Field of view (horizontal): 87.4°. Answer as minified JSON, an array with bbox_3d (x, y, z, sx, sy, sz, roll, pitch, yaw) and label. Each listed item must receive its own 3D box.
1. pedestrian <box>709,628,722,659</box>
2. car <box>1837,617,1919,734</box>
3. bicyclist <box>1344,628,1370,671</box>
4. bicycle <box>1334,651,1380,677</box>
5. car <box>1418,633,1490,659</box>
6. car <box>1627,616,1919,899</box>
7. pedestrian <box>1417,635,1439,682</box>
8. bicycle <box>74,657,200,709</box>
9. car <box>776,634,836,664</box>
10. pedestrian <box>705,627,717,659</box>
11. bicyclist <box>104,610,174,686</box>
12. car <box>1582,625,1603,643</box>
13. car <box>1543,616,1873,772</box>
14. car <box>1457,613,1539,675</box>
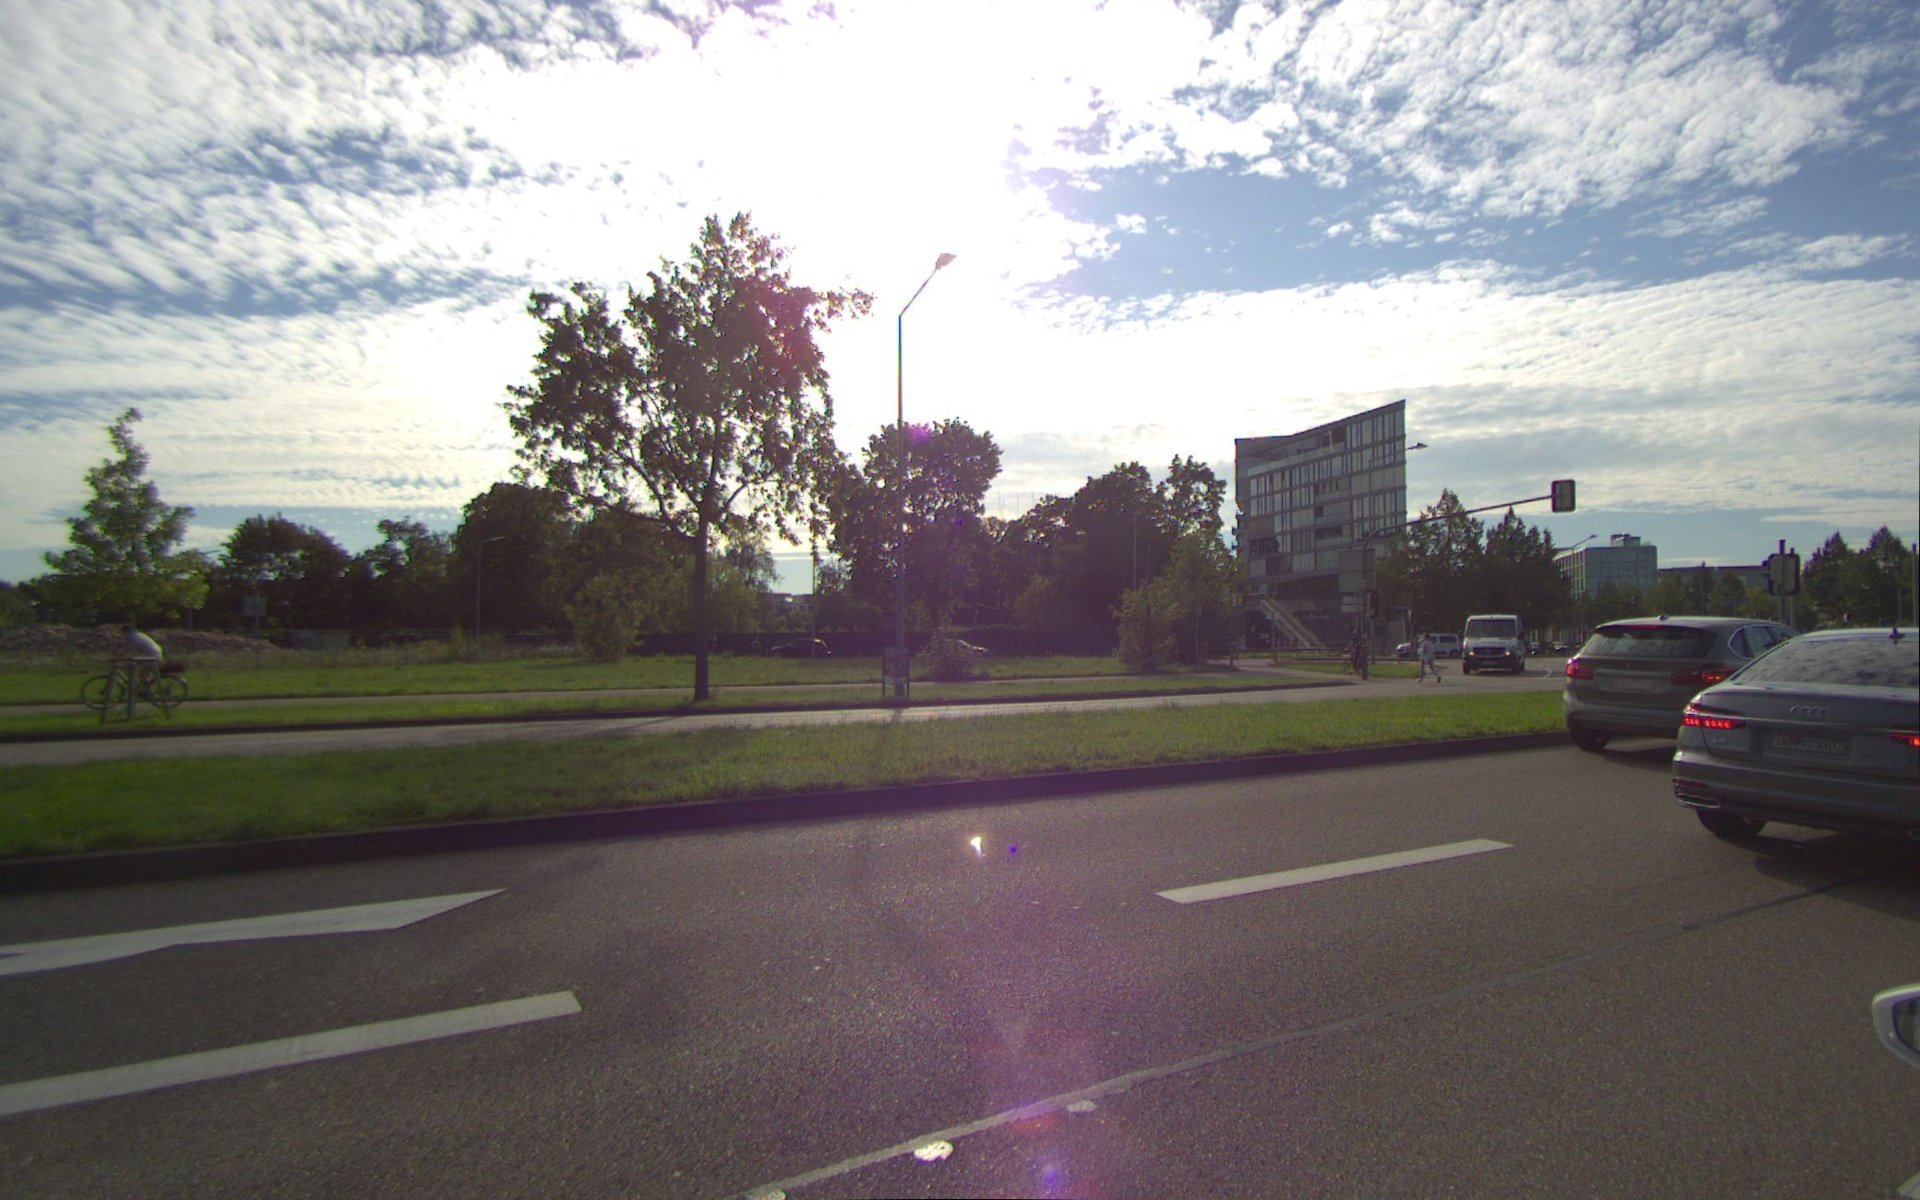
[{"bbox_3d":[-16.000,2.860,65.838,0.723,2.040,0.739,0,-2,-5],"label":"pedestrian"},{"bbox_3d":[14.817,1.056,14.803,3.831,1.585,1.713,0,0,-30],"label":"car"},{"bbox_3d":[15.813,1.962,40.047,0.544,1.690,0.783,1,-3,-34],"label":"bicyclist"},{"bbox_3d":[15.806,2.533,40.028,0.638,0.979,1.664,1,-3,-34],"label":"bicycle"},{"bbox_3d":[34.010,3.178,69.311,4.045,1.770,2.002,-1,-2,10],"label":"car"},{"bbox_3d":[6.827,0.901,6.971,4.559,1.502,1.881,2,-1,-31],"label":"car"},{"bbox_3d":[15.931,1.994,34.223,0.644,1.589,0.615,-1,-2,24],"label":"pedestrian"},{"bbox_3d":[-17.037,1.707,20.859,1.889,0.994,0.891,1,-3,-30],"label":"bicycle"},{"bbox_3d":[-11.542,3.633,75.537,3.919,2.040,2.001,2,-1,13],"label":"car"},{"bbox_3d":[-16.089,2.777,64.973,0.675,2.040,0.641,0,-2,-5],"label":"pedestrian"},{"bbox_3d":[-17.058,0.998,20.891,0.978,1.545,0.702,1,-2,-30],"label":"bicyclist"},{"bbox_3d":[59.129,3.215,93.905,1.570,1.433,3.661,-3,-6,33],"label":"car"},{"bbox_3d":[8.901,0.997,11.894,3.971,1.579,1.721,1,-1,-30],"label":"car"},{"bbox_3d":[21.600,1.784,40.216,1.968,2.264,5.903,-3,-4,37],"label":"car"}]
